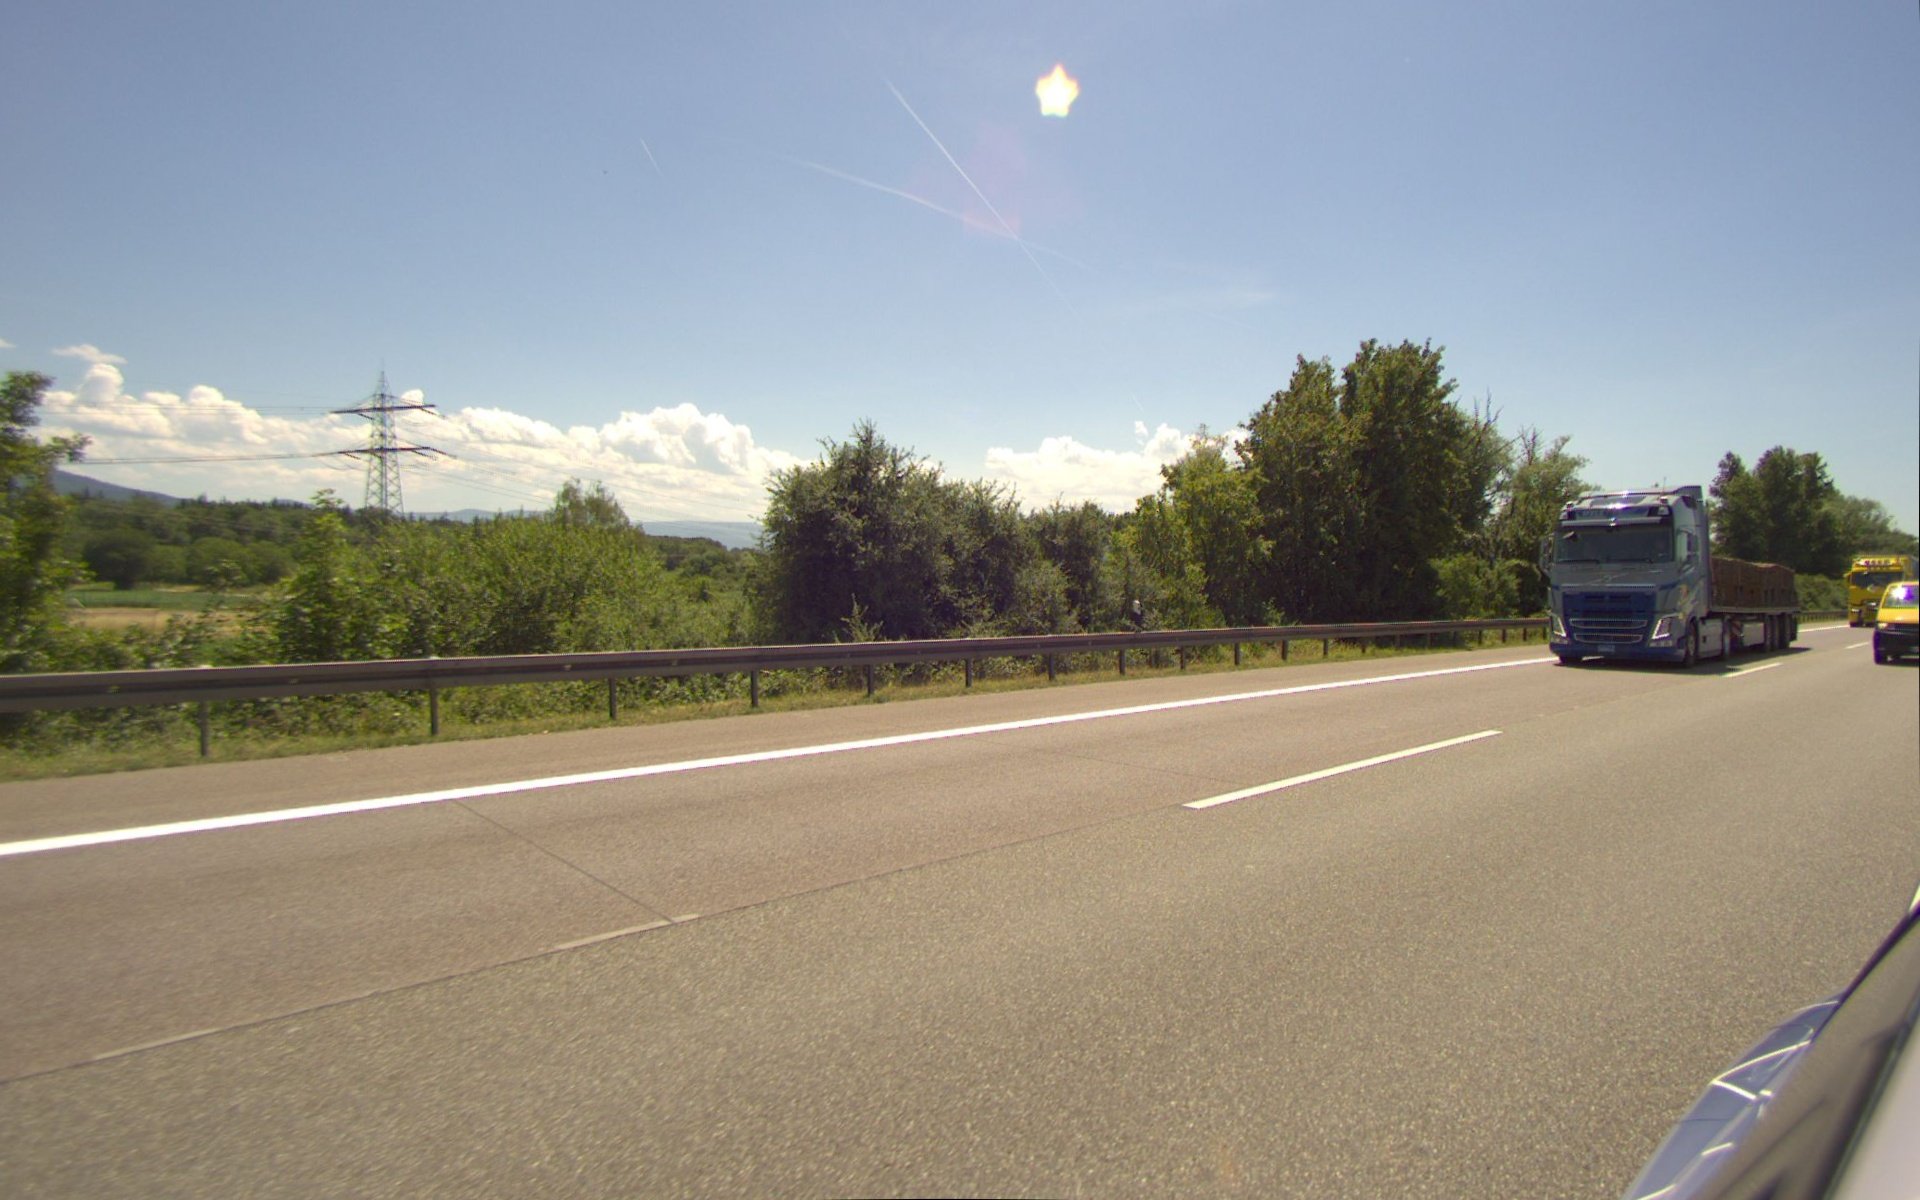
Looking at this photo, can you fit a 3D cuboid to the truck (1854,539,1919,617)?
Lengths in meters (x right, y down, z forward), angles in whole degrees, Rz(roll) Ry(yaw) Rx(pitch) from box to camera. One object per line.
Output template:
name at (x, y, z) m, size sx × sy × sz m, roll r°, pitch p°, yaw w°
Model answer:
truck at (58.174, -1.300, 62.494) m, size 16.509 × 4.310 × 2.848 m, roll -1°, pitch 2°, yaw -43°

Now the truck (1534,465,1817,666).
truck at (19.671, -0.759, 26.935) m, size 16.334 × 4.007 × 2.972 m, roll -1°, pitch 0°, yaw -43°

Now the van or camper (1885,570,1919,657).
van or camper at (23.405, 0.300, 23.848) m, size 4.887 × 1.933 × 1.996 m, roll 0°, pitch 0°, yaw -43°
